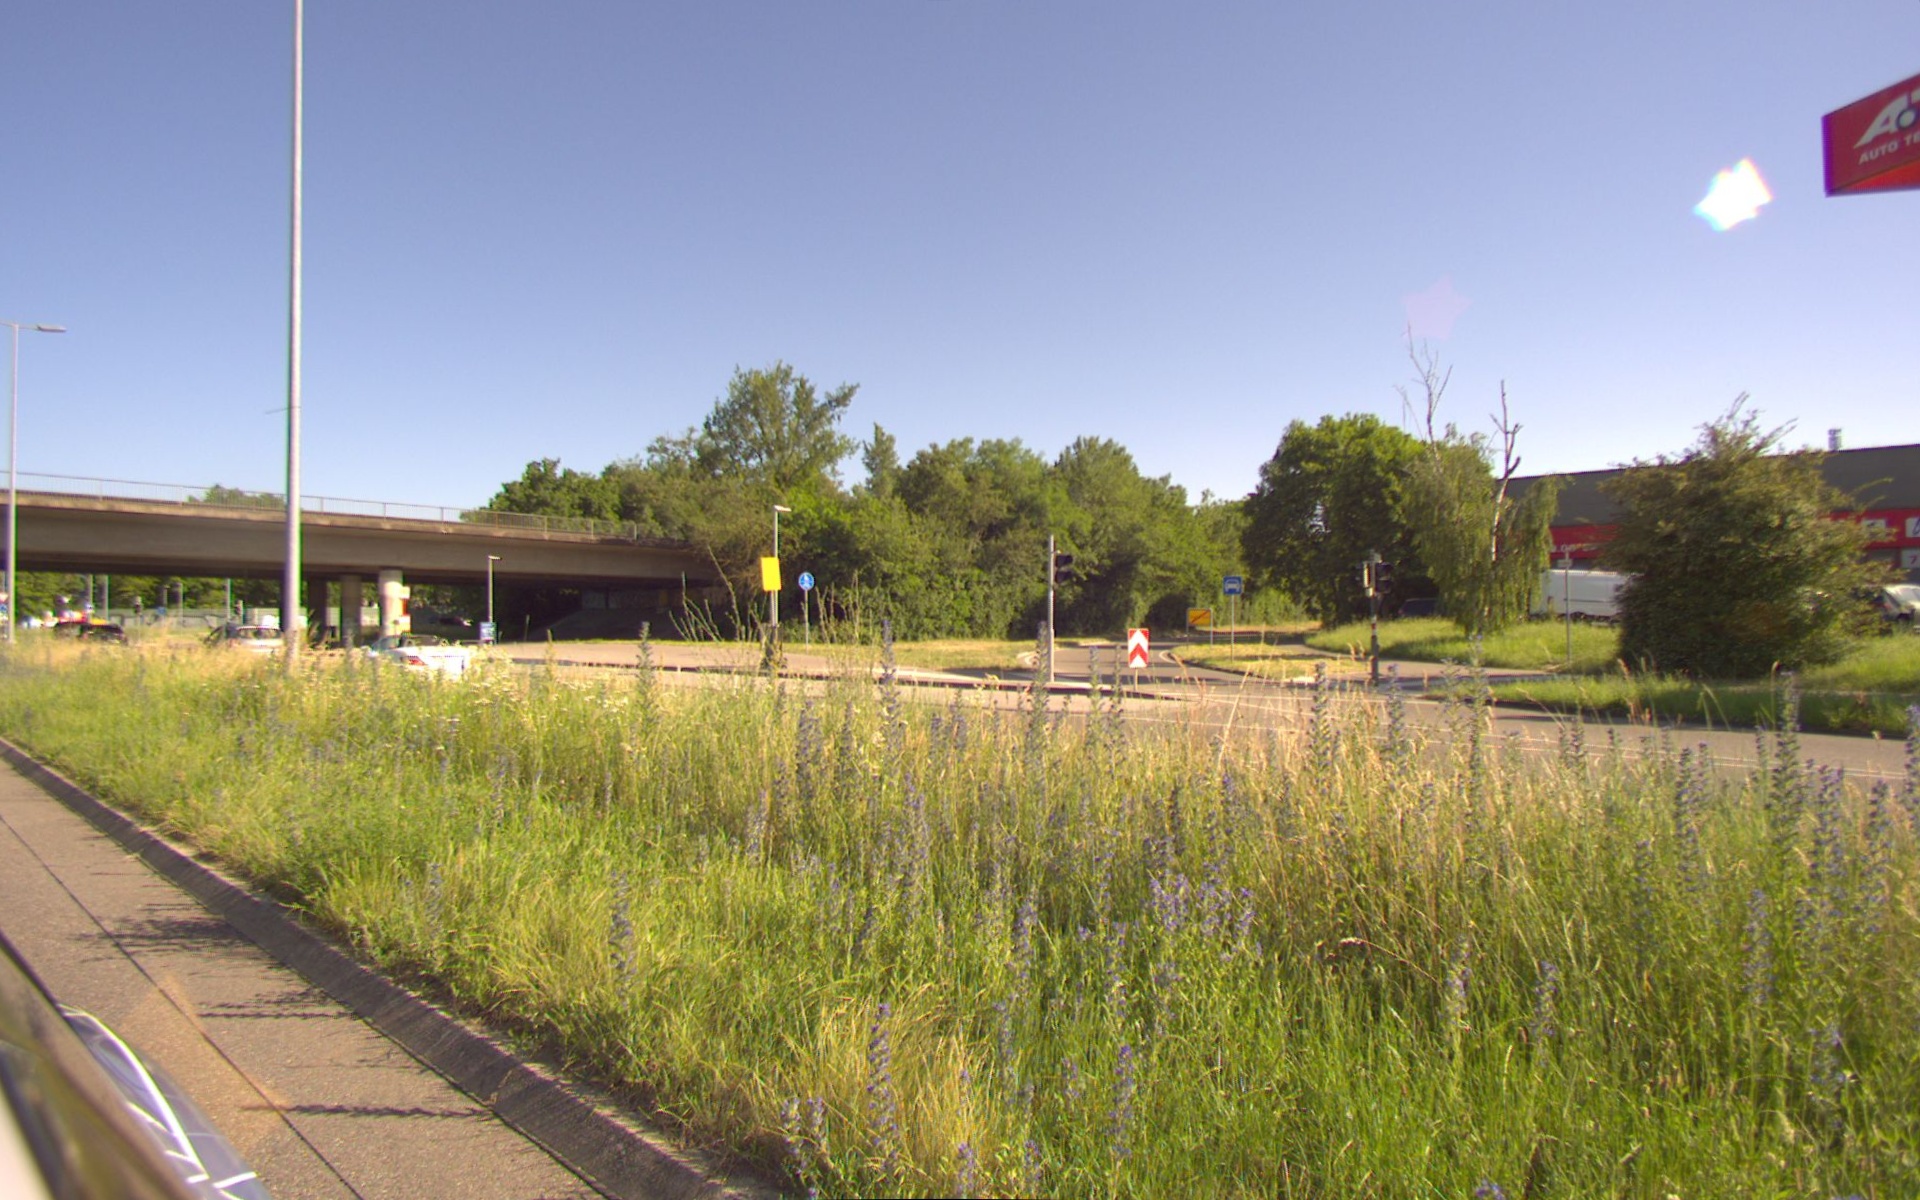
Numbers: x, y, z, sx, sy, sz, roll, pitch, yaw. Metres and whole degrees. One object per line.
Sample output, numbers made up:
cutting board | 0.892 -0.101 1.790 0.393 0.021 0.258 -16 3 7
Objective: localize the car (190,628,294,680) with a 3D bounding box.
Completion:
car | -22.612 1.647 31.841 3.586 1.541 1.618 -1 -2 36

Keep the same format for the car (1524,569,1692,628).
car | 24.681 -0.023 38.712 4.990 2.168 1.890 -1 -2 10

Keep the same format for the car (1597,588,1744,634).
car | 23.871 0.387 34.045 4.061 1.466 1.901 0 -2 -16

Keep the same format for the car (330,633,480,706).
car | -12.414 1.480 22.534 4.101 1.455 1.615 -2 -2 41

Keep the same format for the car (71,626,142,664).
car | -36.728 1.905 43.524 3.587 1.541 1.617 -1 -2 38

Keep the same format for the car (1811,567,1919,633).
car | 23.736 0.031 25.586 4.060 1.563 1.902 0 -2 -26
